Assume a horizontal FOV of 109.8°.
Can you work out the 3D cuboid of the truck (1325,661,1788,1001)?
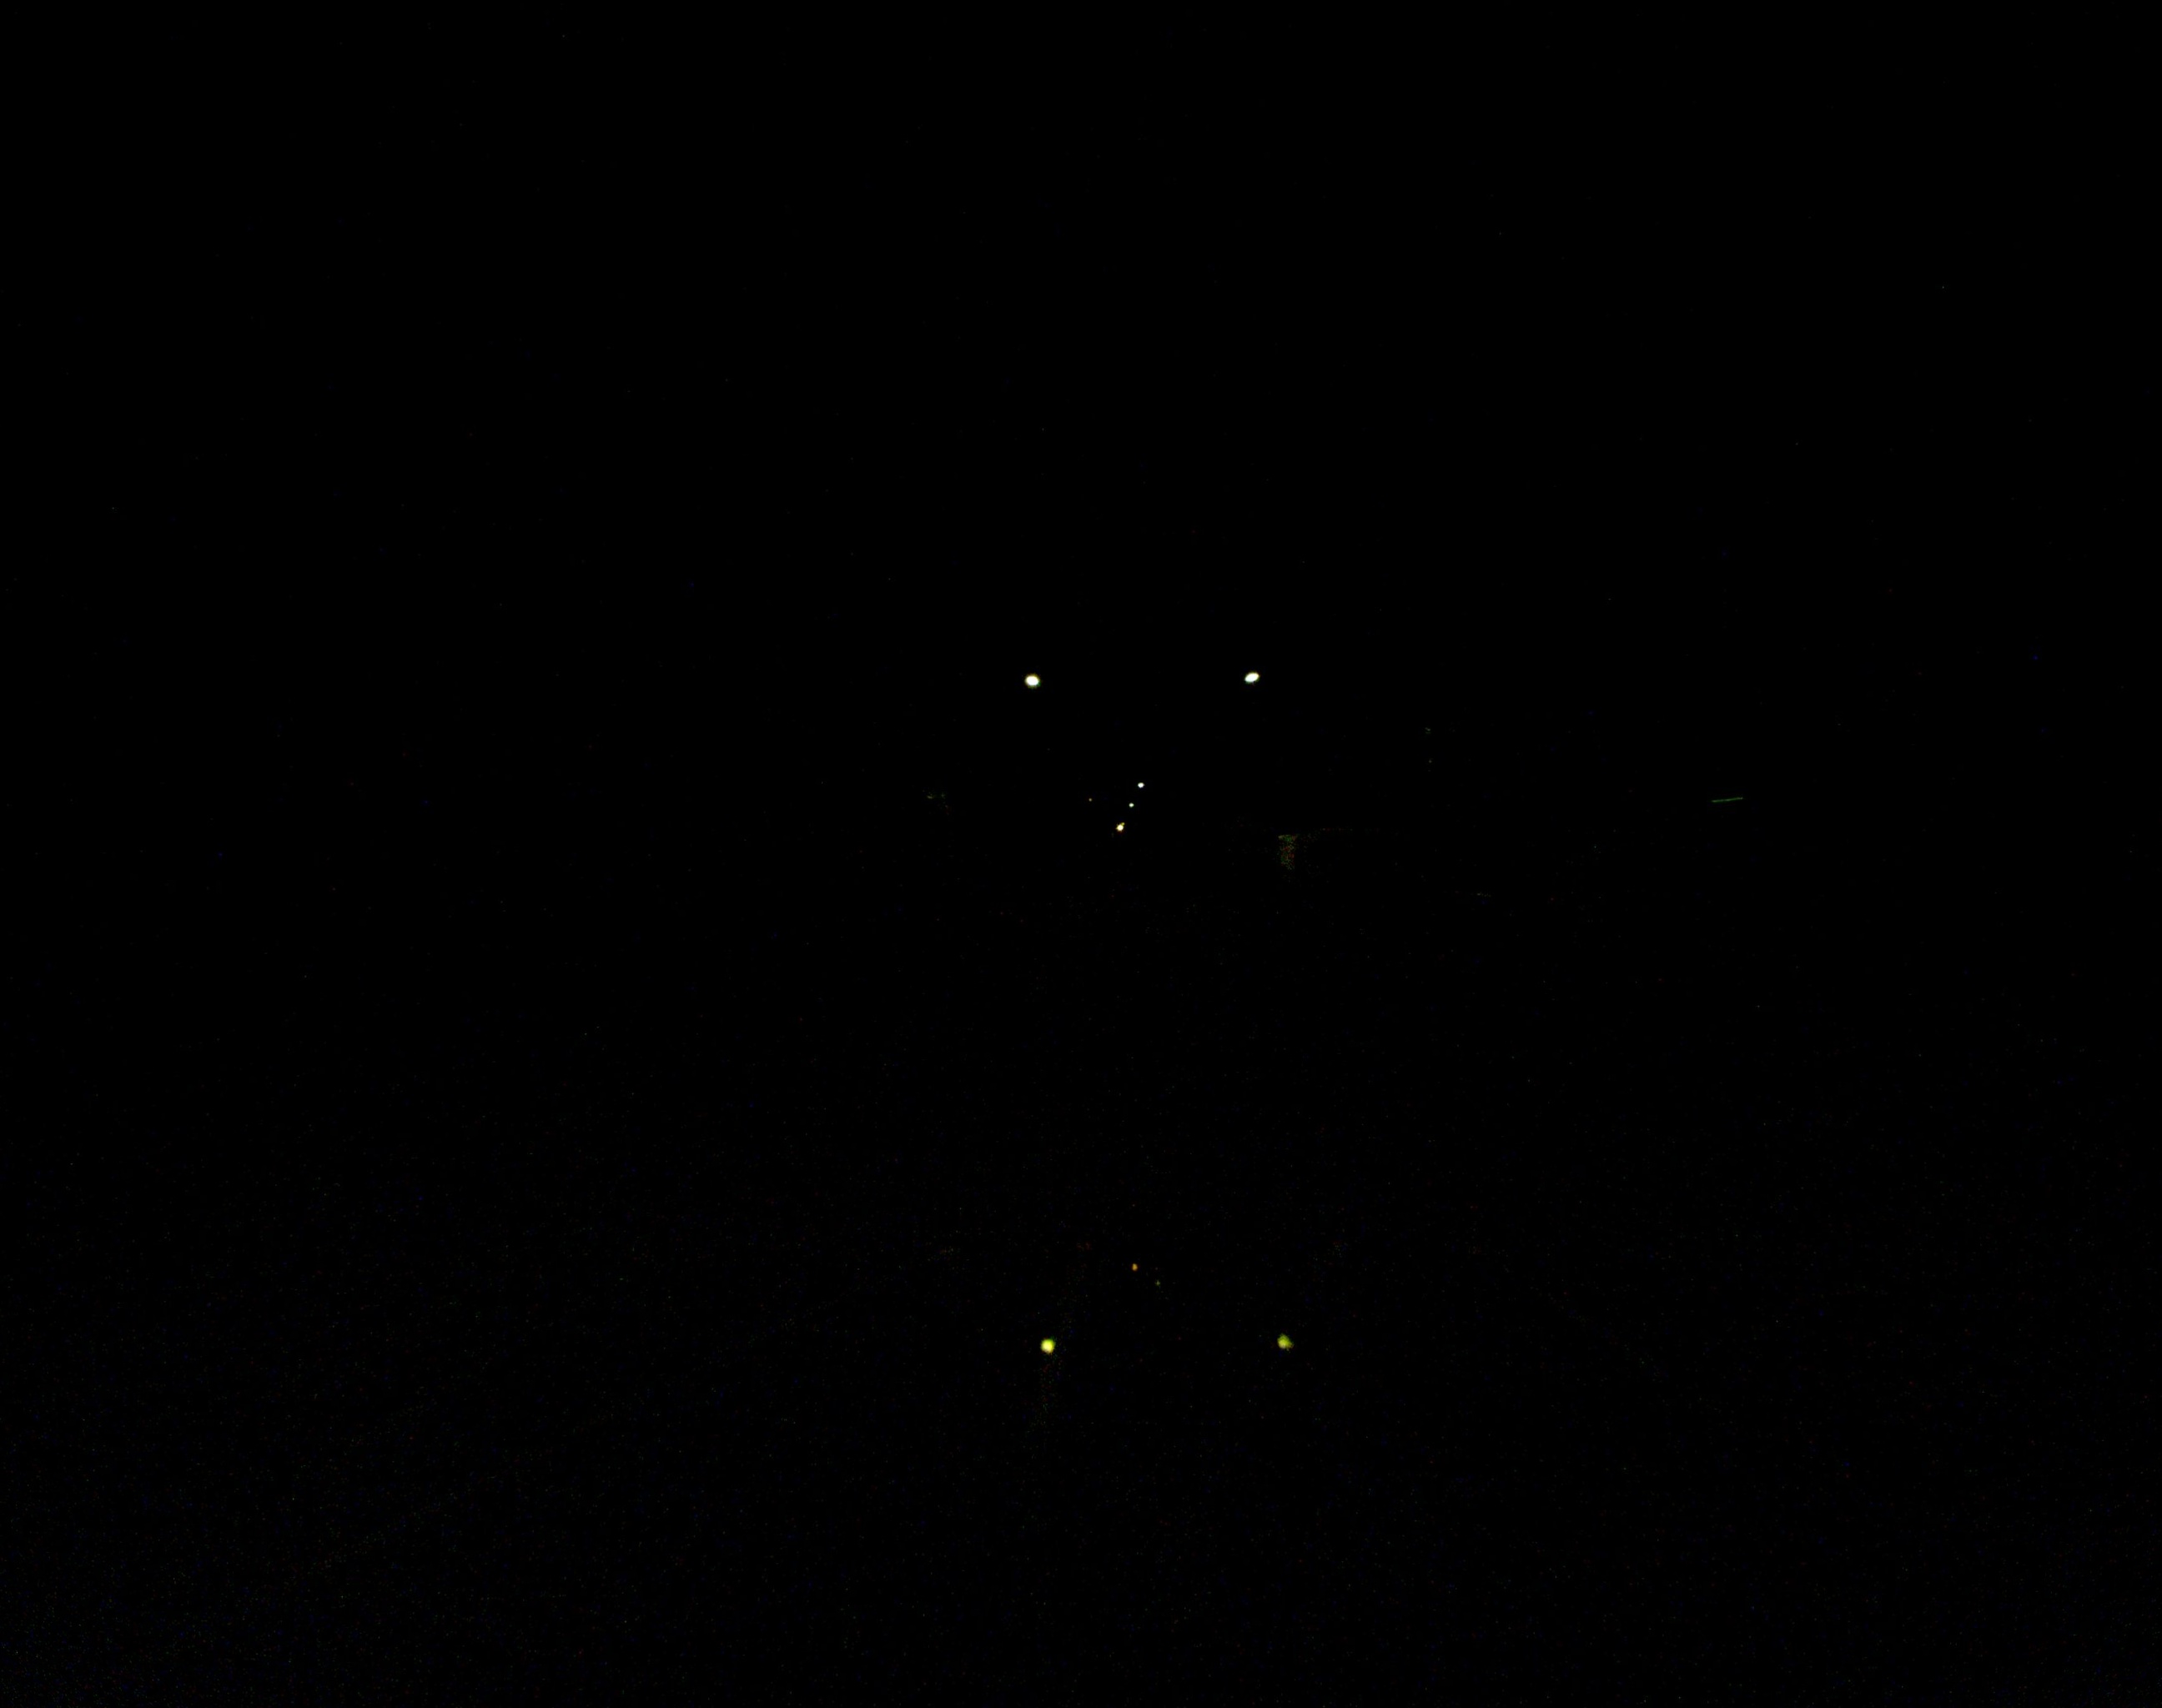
[{"bbox_3d":[8.073,-0.334,16.088,2.643,4.289,12.827,1,0,5],"label":"truck"}]

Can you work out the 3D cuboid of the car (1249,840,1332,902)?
[{"bbox_3d":[8.988,0.712,33.122,1.998,2.428,5.745,-2,-1,0],"label":"car"}]

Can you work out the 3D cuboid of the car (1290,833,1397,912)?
[{"bbox_3d":[8.484,0.587,25.021,2.144,2.298,4.469,-2,0,3],"label":"car"}]

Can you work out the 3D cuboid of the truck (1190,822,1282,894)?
[{"bbox_3d":[8.686,0.254,44.163,2.829,3.610,10.400,-2,-1,-2],"label":"truck"}]

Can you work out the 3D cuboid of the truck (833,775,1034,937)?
[{"bbox_3d":[-3.967,0.106,24.584,2.514,3.814,12.665,-2,-1,7],"label":"truck"}]
